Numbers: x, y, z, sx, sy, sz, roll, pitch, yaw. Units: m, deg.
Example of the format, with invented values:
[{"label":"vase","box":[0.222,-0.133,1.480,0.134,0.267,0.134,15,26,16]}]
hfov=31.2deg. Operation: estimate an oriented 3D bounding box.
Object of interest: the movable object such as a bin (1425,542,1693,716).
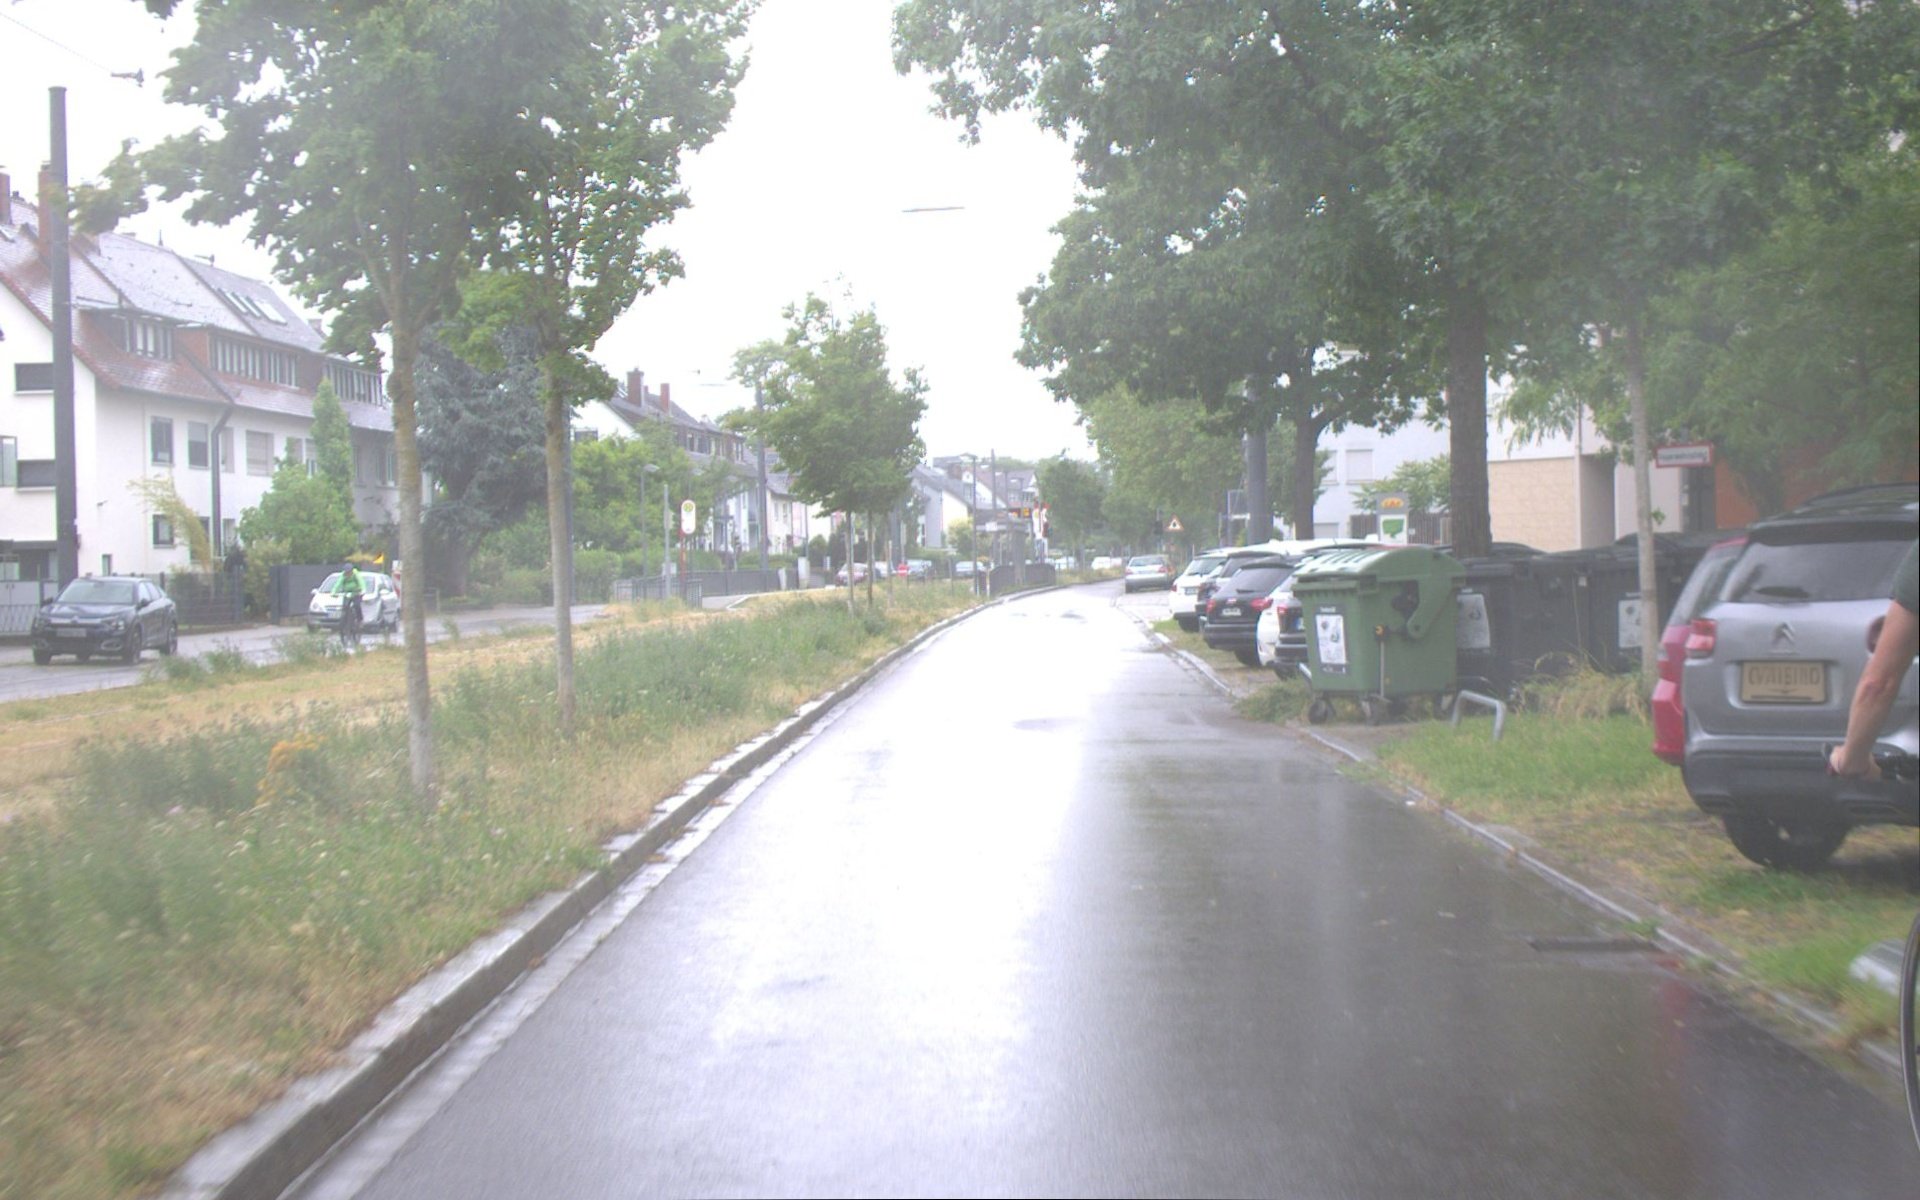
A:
[{"label":"movable object such as a bin","box":[5.057,0.229,29.107,1.681,1.321,1.401,-4,2,-20]}]

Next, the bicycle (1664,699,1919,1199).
[{"label":"bicycle","box":[2.222,0.823,7.333,0.809,1.093,2.517,-2,1,-2]}]

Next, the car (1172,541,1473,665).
[{"label":"car","box":[4.736,0.020,44.573,4.030,1.438,1.584,-3,1,-43]}]

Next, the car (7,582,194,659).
[{"label":"car","box":[-15.221,0.334,61.125,1.897,1.240,4.687,1,1,4]}]

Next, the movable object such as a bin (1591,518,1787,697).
[{"label":"movable object such as a bin","box":[6.494,0.062,30.664,1.243,1.515,1.089,-3,1,-27]}]

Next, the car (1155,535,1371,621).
[{"label":"car","box":[5.834,-0.436,65.953,4.028,1.508,1.585,-2,1,-36]}]

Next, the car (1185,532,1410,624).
[{"label":"car","box":[6.199,-0.411,63.021,4.028,1.535,1.585,-2,1,-36]}]

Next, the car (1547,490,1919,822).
[{"label":"car","box":[5.285,0.203,18.978,3.875,1.561,1.732,-5,2,-36]}]

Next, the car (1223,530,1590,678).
[{"label":"car","box":[5.084,0.021,38.931,4.028,1.514,1.585,-2,1,-33]}]

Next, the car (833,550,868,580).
[{"label":"car","box":[-6.435,-2.047,202.173,1.843,1.666,4.000,-2,1,1]}]

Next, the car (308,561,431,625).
[{"label":"car","box":[-14.267,-0.187,83.350,1.897,1.464,4.687,1,1,4]}]

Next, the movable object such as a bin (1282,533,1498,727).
[{"label":"movable object such as a bin","box":[3.589,0.234,28.796,1.125,1.452,1.401,-8,3,-20]}]

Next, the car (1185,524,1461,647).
[{"label":"car","box":[5.445,-0.233,51.375,4.028,1.697,1.585,-2,1,-36]}]

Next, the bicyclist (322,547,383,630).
[{"label":"bicyclist","box":[-12.602,-0.247,71.310,1.018,1.679,1.092,-2,1,1]}]

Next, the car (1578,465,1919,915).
[{"label":"car","box":[5.030,0.221,15.219,4.135,1.713,2.000,-5,2,-31]}]

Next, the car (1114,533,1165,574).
[{"label":"car","box":[7.104,-1.849,136.030,1.833,1.580,4.000,-2,1,1]}]

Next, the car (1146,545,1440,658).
[{"label":"car","box":[4.713,0.004,48.416,4.028,1.438,1.585,-2,1,-36]}]

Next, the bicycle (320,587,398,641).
[{"label":"bicycle","box":[-12.568,0.273,71.967,1.018,1.024,3.197,-2,1,1]}]

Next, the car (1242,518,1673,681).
[{"label":"car","box":[5.189,-0.028,35.699,4.214,1.514,1.877,-2,1,-33]}]

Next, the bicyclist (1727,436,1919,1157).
[{"label":"bicyclist","box":[2.209,0.369,7.362,0.809,1.428,1.060,-2,1,-3]}]
